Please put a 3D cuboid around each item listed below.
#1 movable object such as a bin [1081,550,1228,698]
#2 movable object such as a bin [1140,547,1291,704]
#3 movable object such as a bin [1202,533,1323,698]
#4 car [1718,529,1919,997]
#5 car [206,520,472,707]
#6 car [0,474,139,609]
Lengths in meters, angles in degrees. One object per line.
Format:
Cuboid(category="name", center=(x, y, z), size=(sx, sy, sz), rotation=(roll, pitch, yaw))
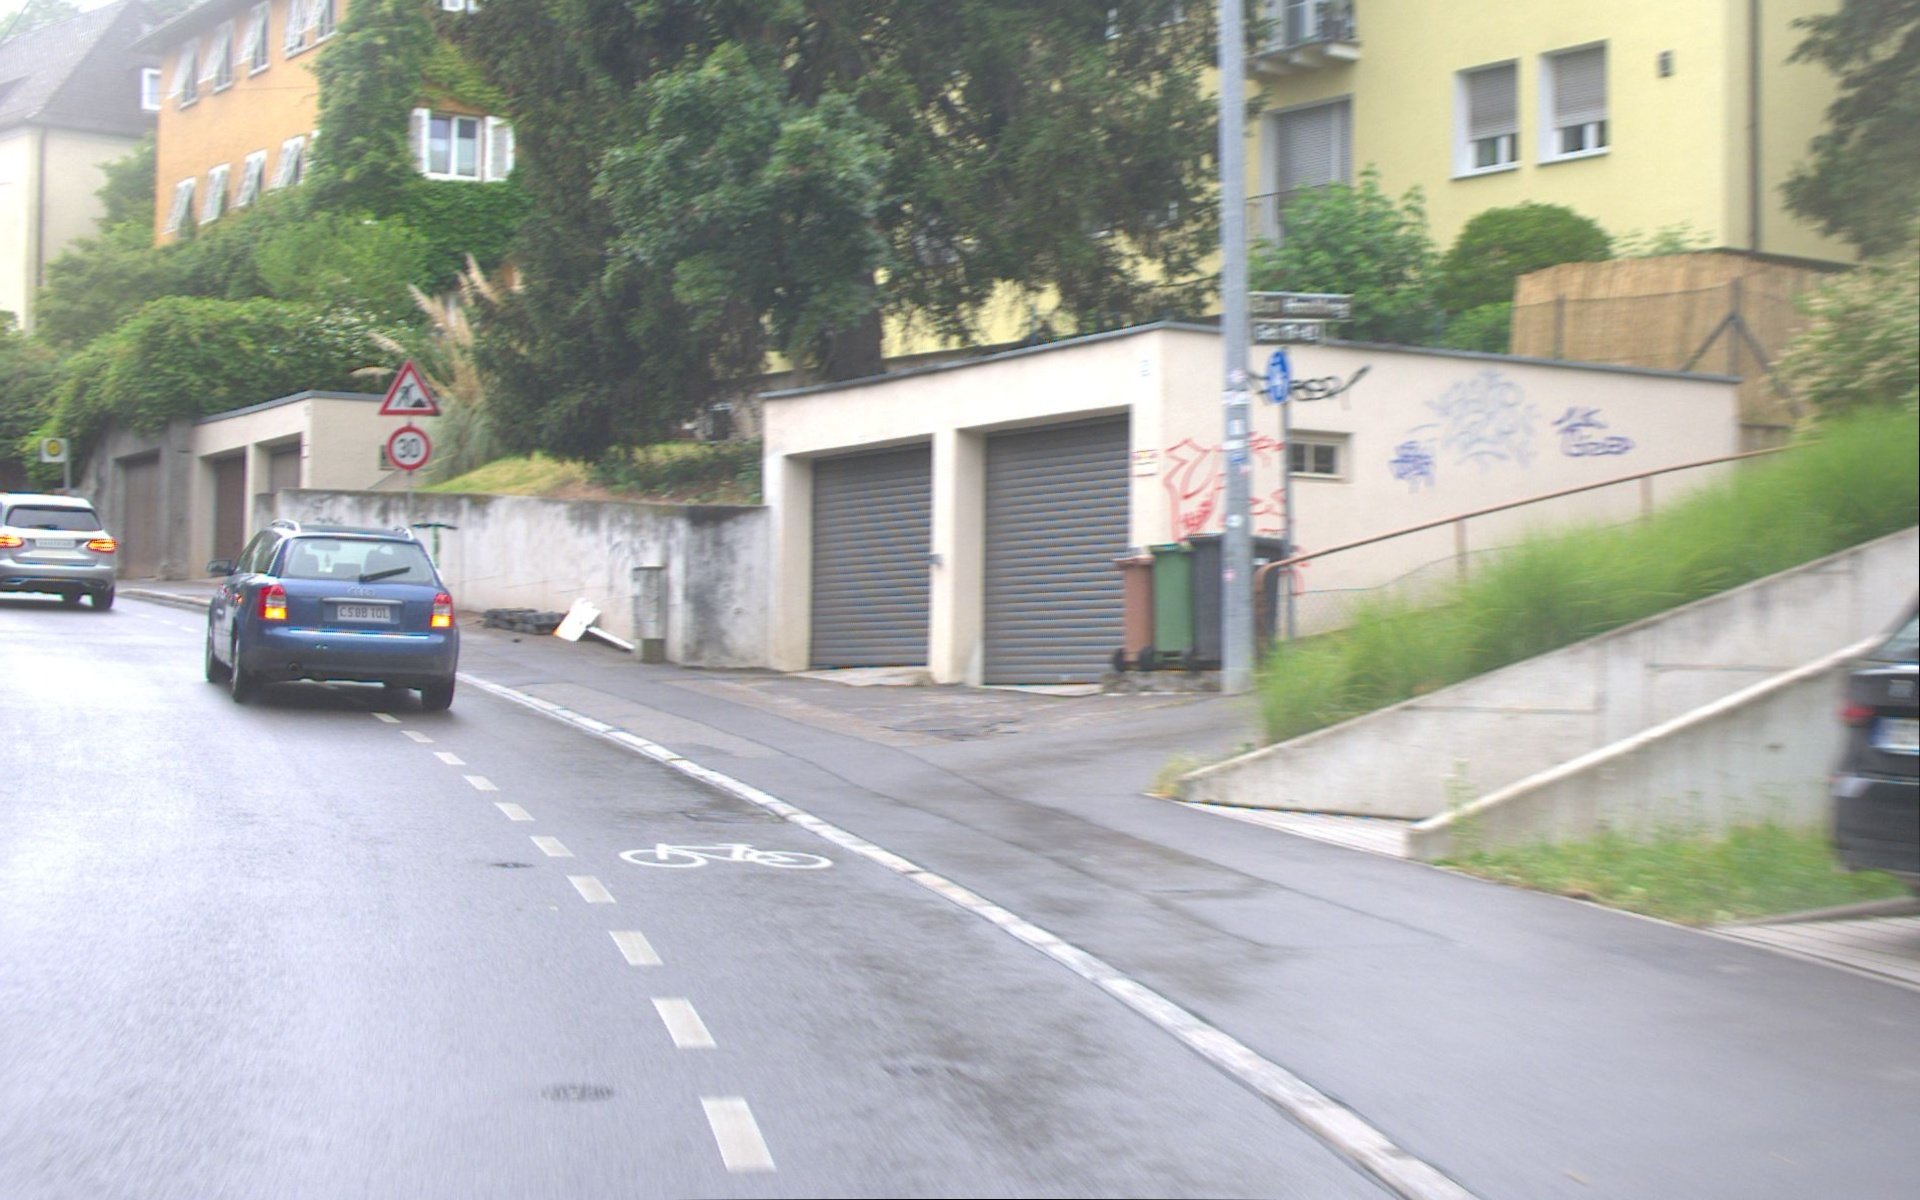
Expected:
Cuboid(category="movable object such as a bin", center=(1.540, 0.177, 27.219), size=(0.859, 1.138, 0.799), rotation=(-1, 2, -32))
Cuboid(category="movable object such as a bin", center=(1.968, 0.184, 26.536), size=(0.859, 1.181, 0.787), rotation=(-1, 2, -32))
Cuboid(category="movable object such as a bin", center=(2.277, 0.105, 25.905), size=(0.702, 1.219, 0.581), rotation=(-1, 2, -32))
Cuboid(category="car", center=(5.031, 0.456, 12.243), size=(4.168, 1.503, 1.741), rotation=(-2, 2, -12))
Cuboid(category="car", center=(-5.214, 0.050, 28.469), size=(1.853, 1.409, 4.363), rotation=(-1, 1, -14))
Cuboid(category="car", center=(-12.312, -0.823, 45.865), size=(1.949, 1.556, 4.265), rotation=(1, 3, -22))
